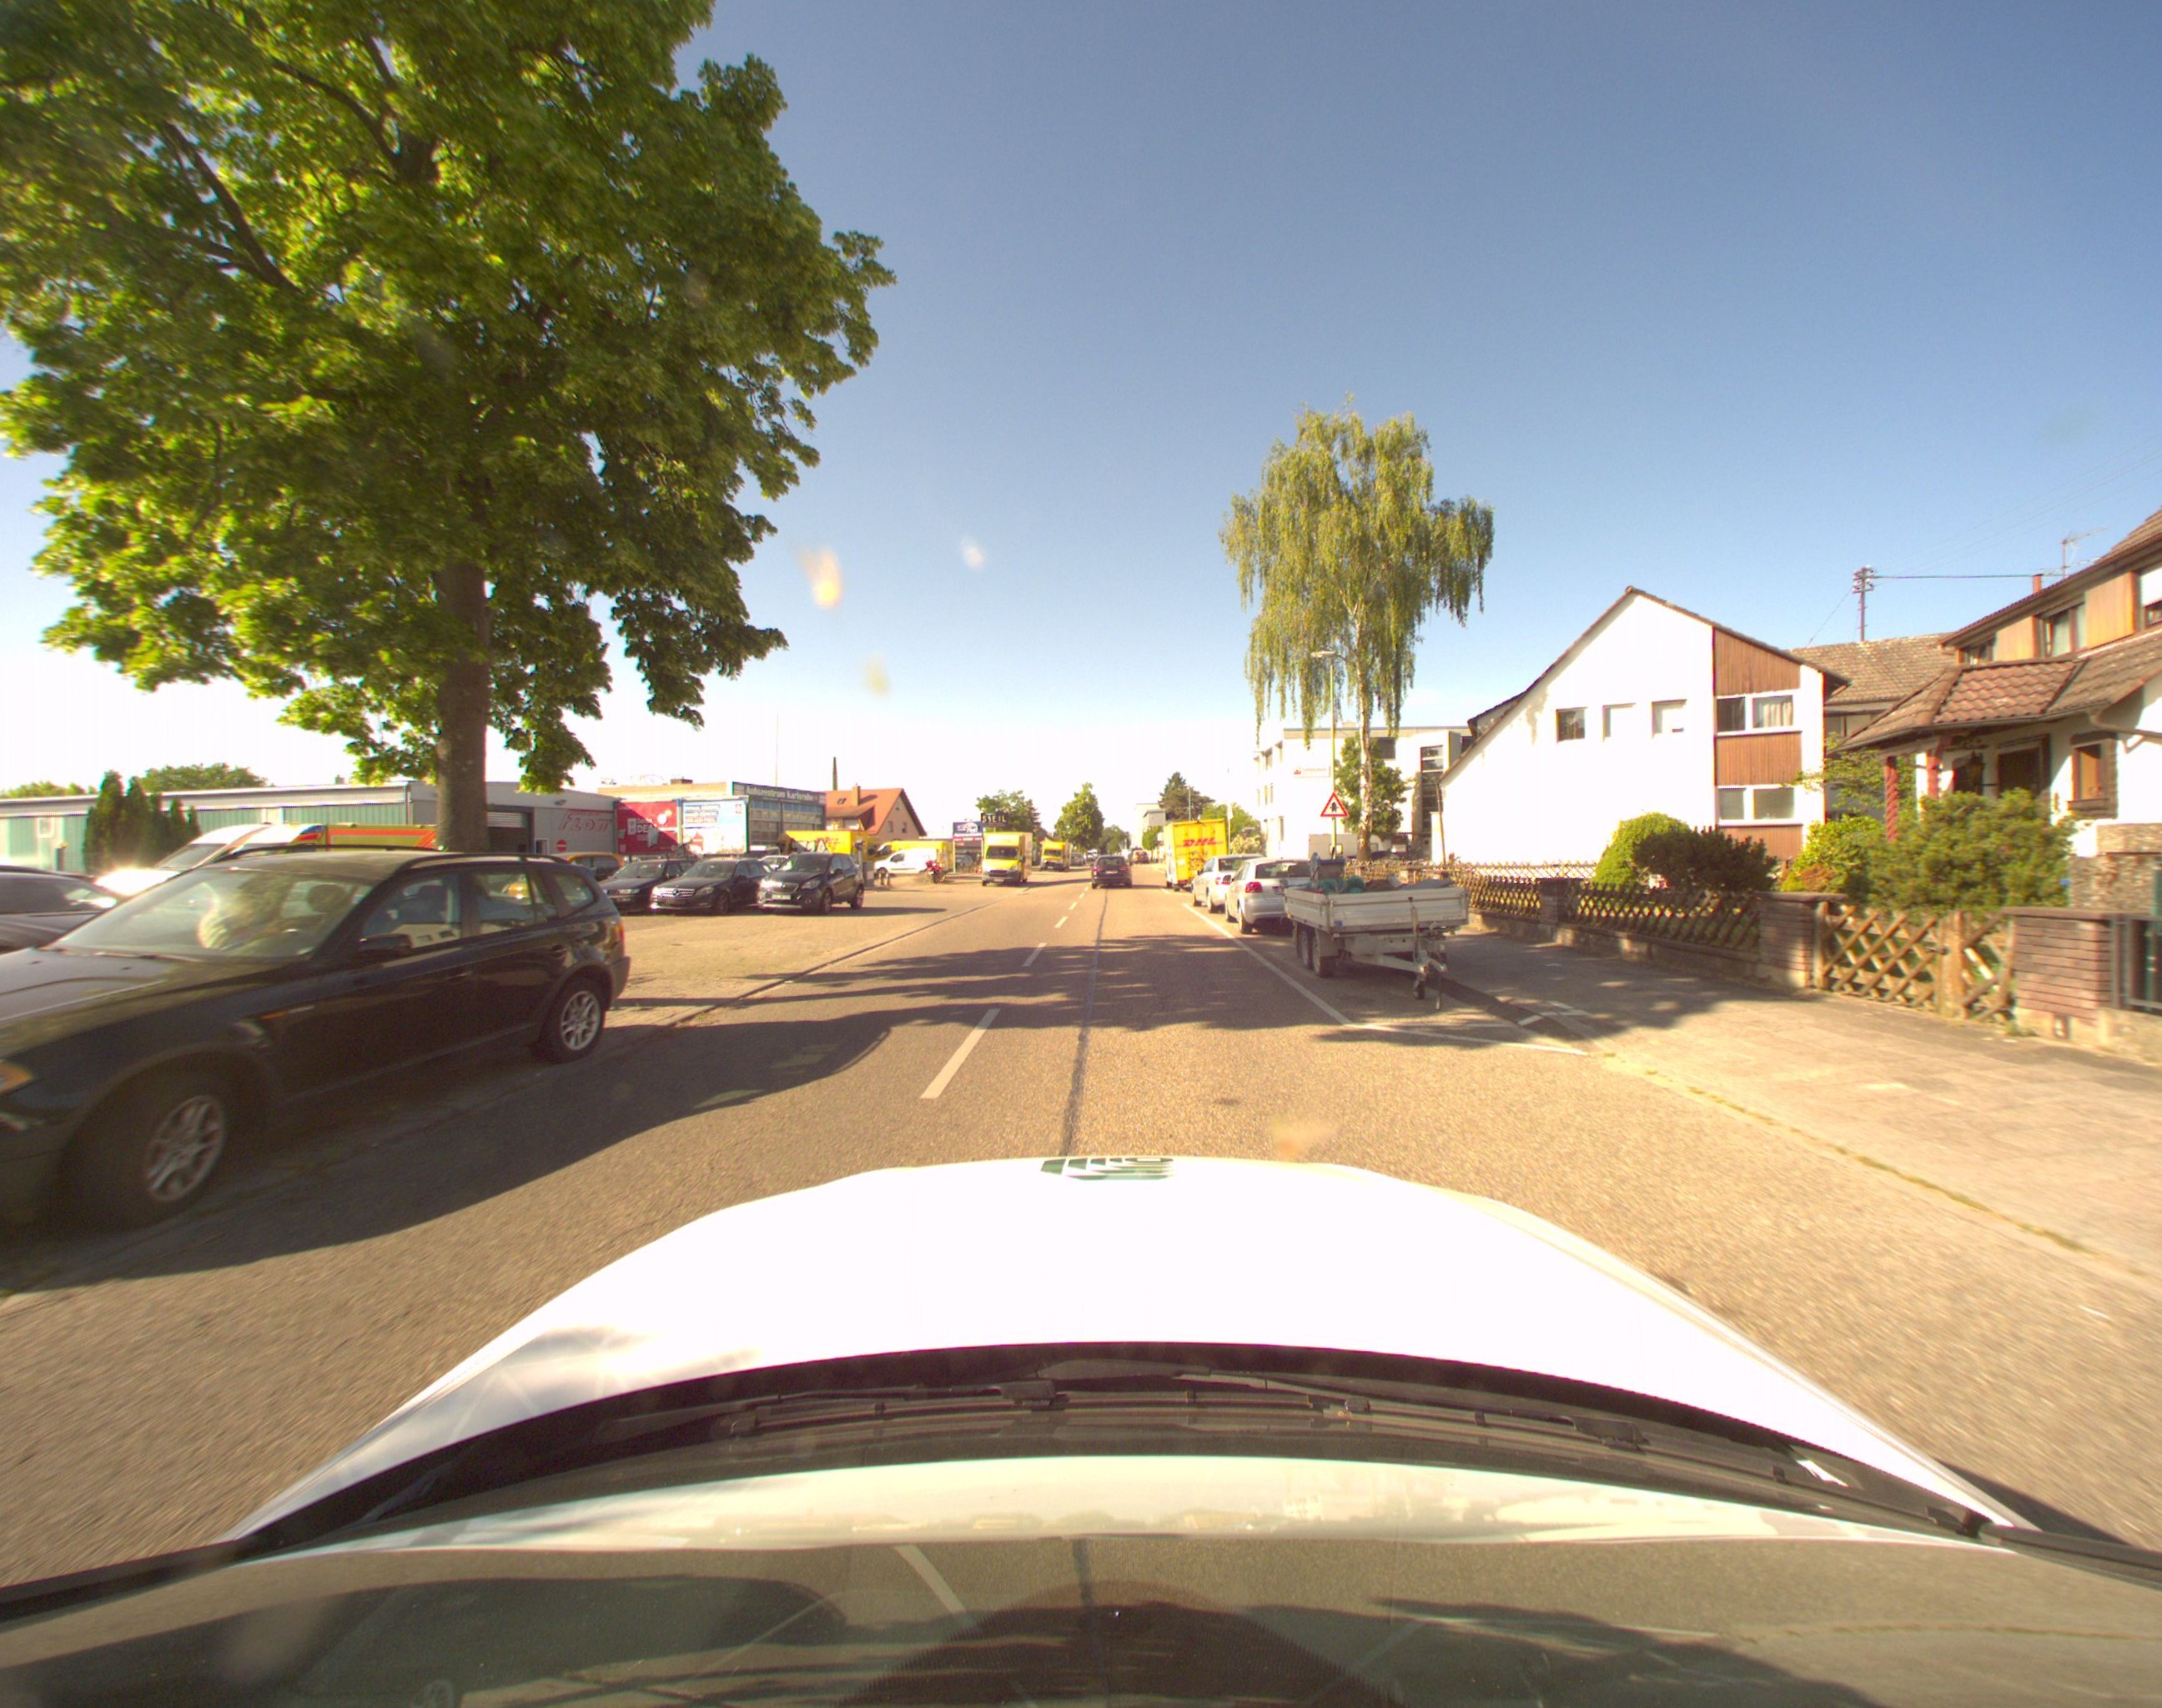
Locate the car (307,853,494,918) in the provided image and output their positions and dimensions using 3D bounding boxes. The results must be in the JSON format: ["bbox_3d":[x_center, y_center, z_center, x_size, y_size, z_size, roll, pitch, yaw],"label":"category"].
[{"bbox_3d":[-21.016,0.904,25.396,1.764,1.748,4.180,-1,1,13],"label":"car"}]

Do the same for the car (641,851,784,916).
[{"bbox_3d":[-9.939,0.727,22.392,1.854,1.590,4.278,-1,0,2],"label":"car"}]

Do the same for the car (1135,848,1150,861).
[{"bbox_3d":[8.622,0.085,114.779,1.911,1.825,4.082,-1,0,3],"label":"car"}]

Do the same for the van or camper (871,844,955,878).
[{"bbox_3d":[-10.392,0.438,50.462,4.517,2.013,2.256,-1,0,8],"label":"van or camper"}]

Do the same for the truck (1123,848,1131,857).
[{"bbox_3d":[12.432,-0.349,219.493,1.985,2.287,6.960,-1,0,3],"label":"truck"}]

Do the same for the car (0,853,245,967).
[{"bbox_3d":[-15.218,0.769,11.855,1.654,1.517,4.010,-1,0,8],"label":"car"}]

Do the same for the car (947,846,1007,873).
[{"bbox_3d":[-8.226,0.430,64.526,4.221,2.013,1.875,-1,0,10],"label":"car"}]

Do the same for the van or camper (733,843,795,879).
[{"bbox_3d":[-18.801,0.407,48.537,1.852,2.013,4.005,-1,0,4],"label":"van or camper"}]

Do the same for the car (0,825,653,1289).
[{"bbox_3d":[-4.870,0.744,5.229,1.668,1.771,4.557,1,0,2],"label":"car"}]

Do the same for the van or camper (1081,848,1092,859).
[{"bbox_3d":[1.290,-0.081,185.437,2.317,2.362,6.524,-1,0,-1],"label":"van or camper"}]

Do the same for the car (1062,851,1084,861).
[{"bbox_3d":[-1.233,0.298,122.139,1.883,1.485,4.015,-3,1,-22],"label":"car"}]

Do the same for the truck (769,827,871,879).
[{"bbox_3d":[-16.508,-0.089,51.646,5.629,3.119,2.532,1,0,13],"label":"truck"}]

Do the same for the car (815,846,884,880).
[{"bbox_3d":[-13.041,0.468,46.141,1.852,1.562,4.230,0,4,14],"label":"car"}]

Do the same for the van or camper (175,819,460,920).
[{"bbox_3d":[-23.249,0.413,25.327,2.150,2.715,6.292,-1,0,13],"label":"van or camper"}]

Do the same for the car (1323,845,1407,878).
[{"bbox_3d":[15.155,0.371,43.445,4.002,1.618,1.798,-1,0,-22],"label":"car"}]

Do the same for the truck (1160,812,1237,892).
[{"bbox_3d":[4.805,-0.081,34.573,2.393,2.936,7.020,-3,0,2],"label":"truck"}]

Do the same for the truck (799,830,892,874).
[{"bbox_3d":[-16.724,-0.110,57.916,6.046,2.972,2.182,-1,0,15],"label":"truck"}]

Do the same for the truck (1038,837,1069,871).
[{"bbox_3d":[-2.520,-0.008,76.341,2.393,2.983,6.378,1,0,3],"label":"truck"}]

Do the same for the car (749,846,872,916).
[{"bbox_3d":[-7.406,0.688,22.789,1.854,1.714,4.278,2,0,2],"label":"car"}]

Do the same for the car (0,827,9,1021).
[{"bbox_3d":[-11.811,0.670,6.558,4.229,1.728,1.768,-1,0,4],"label":"car"}]

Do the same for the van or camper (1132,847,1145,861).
[{"bbox_3d":[8.461,0.051,120.206,1.911,2.019,4.082,-1,0,3],"label":"van or camper"}]

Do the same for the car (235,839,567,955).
[{"bbox_3d":[-11.090,0.679,13.426,4.225,1.728,1.770,-1,0,8],"label":"car"}]

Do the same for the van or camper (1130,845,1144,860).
[{"bbox_3d":[8.578,-0.192,125.343,1.985,2.310,4.003,-1,0,2],"label":"van or camper"}]

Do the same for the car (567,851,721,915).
[{"bbox_3d":[-11.960,0.792,22.657,1.854,1.590,4.277,-1,-2,2],"label":"car"}]

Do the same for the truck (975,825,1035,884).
[{"bbox_3d":[-4.071,0.029,44.983,2.394,2.983,7.247,1,0,1],"label":"truck"}]

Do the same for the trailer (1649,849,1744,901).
[{"bbox_3d":[14.028,0.437,18.526,1.634,1.072,2.199,-1,0,39],"label":"trailer"}]

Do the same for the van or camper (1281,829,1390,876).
[{"bbox_3d":[14.440,-0.109,46.187,5.837,2.541,2.273,-1,0,-23],"label":"van or camper"}]

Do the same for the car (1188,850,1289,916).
[{"bbox_3d":[4.100,0.690,21.921,1.778,1.542,4.535,-1,0,-1],"label":"car"}]

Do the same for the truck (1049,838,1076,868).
[{"bbox_3d":[-1.866,-0.120,85.304,2.183,2.902,6.445,1,0,3],"label":"truck"}]

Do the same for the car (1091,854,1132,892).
[{"bbox_3d":[1.423,0.797,36.348,1.704,1.532,3.691,-1,0,3],"label":"car"}]

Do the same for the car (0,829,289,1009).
[{"bbox_3d":[-11.572,0.667,8.999,4.225,1.728,1.770,-1,0,8],"label":"car"}]

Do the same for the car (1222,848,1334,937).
[{"bbox_3d":[3.797,0.664,16.294,1.666,1.542,4.050,0,0,6],"label":"car"}]

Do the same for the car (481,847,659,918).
[{"bbox_3d":[-14.359,0.735,23.191,1.764,1.748,4.180,-1,1,13],"label":"car"}]

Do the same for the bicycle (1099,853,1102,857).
[{"bbox_3d":[5.019,0.290,213.133,0.826,1.153,2.941,-1,0,1],"label":"bicycle"}]

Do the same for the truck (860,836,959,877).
[{"bbox_3d":[-11.182,0.132,53.270,5.880,2.567,2.232,1,0,13],"label":"truck"}]

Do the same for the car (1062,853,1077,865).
[{"bbox_3d":[-1.483,0.638,105.130,1.751,1.403,4.558,-1,0,1],"label":"car"}]

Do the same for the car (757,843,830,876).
[{"bbox_3d":[-16.513,0.321,46.977,1.979,1.816,4.016,1,0,14],"label":"car"}]

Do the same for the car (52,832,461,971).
[{"bbox_3d":[-11.321,0.632,11.329,4.225,1.728,1.770,-1,0,8],"label":"car"}]

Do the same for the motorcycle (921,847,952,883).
[{"bbox_3d":[-7.932,0.559,44.762,0.777,1.873,3.046,2,1,7],"label":"motorcycle"}]

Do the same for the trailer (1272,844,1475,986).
[{"bbox_3d":[3.575,0.660,10.506,1.620,1.538,3.201,-1,0,3],"label":"trailer"}]
